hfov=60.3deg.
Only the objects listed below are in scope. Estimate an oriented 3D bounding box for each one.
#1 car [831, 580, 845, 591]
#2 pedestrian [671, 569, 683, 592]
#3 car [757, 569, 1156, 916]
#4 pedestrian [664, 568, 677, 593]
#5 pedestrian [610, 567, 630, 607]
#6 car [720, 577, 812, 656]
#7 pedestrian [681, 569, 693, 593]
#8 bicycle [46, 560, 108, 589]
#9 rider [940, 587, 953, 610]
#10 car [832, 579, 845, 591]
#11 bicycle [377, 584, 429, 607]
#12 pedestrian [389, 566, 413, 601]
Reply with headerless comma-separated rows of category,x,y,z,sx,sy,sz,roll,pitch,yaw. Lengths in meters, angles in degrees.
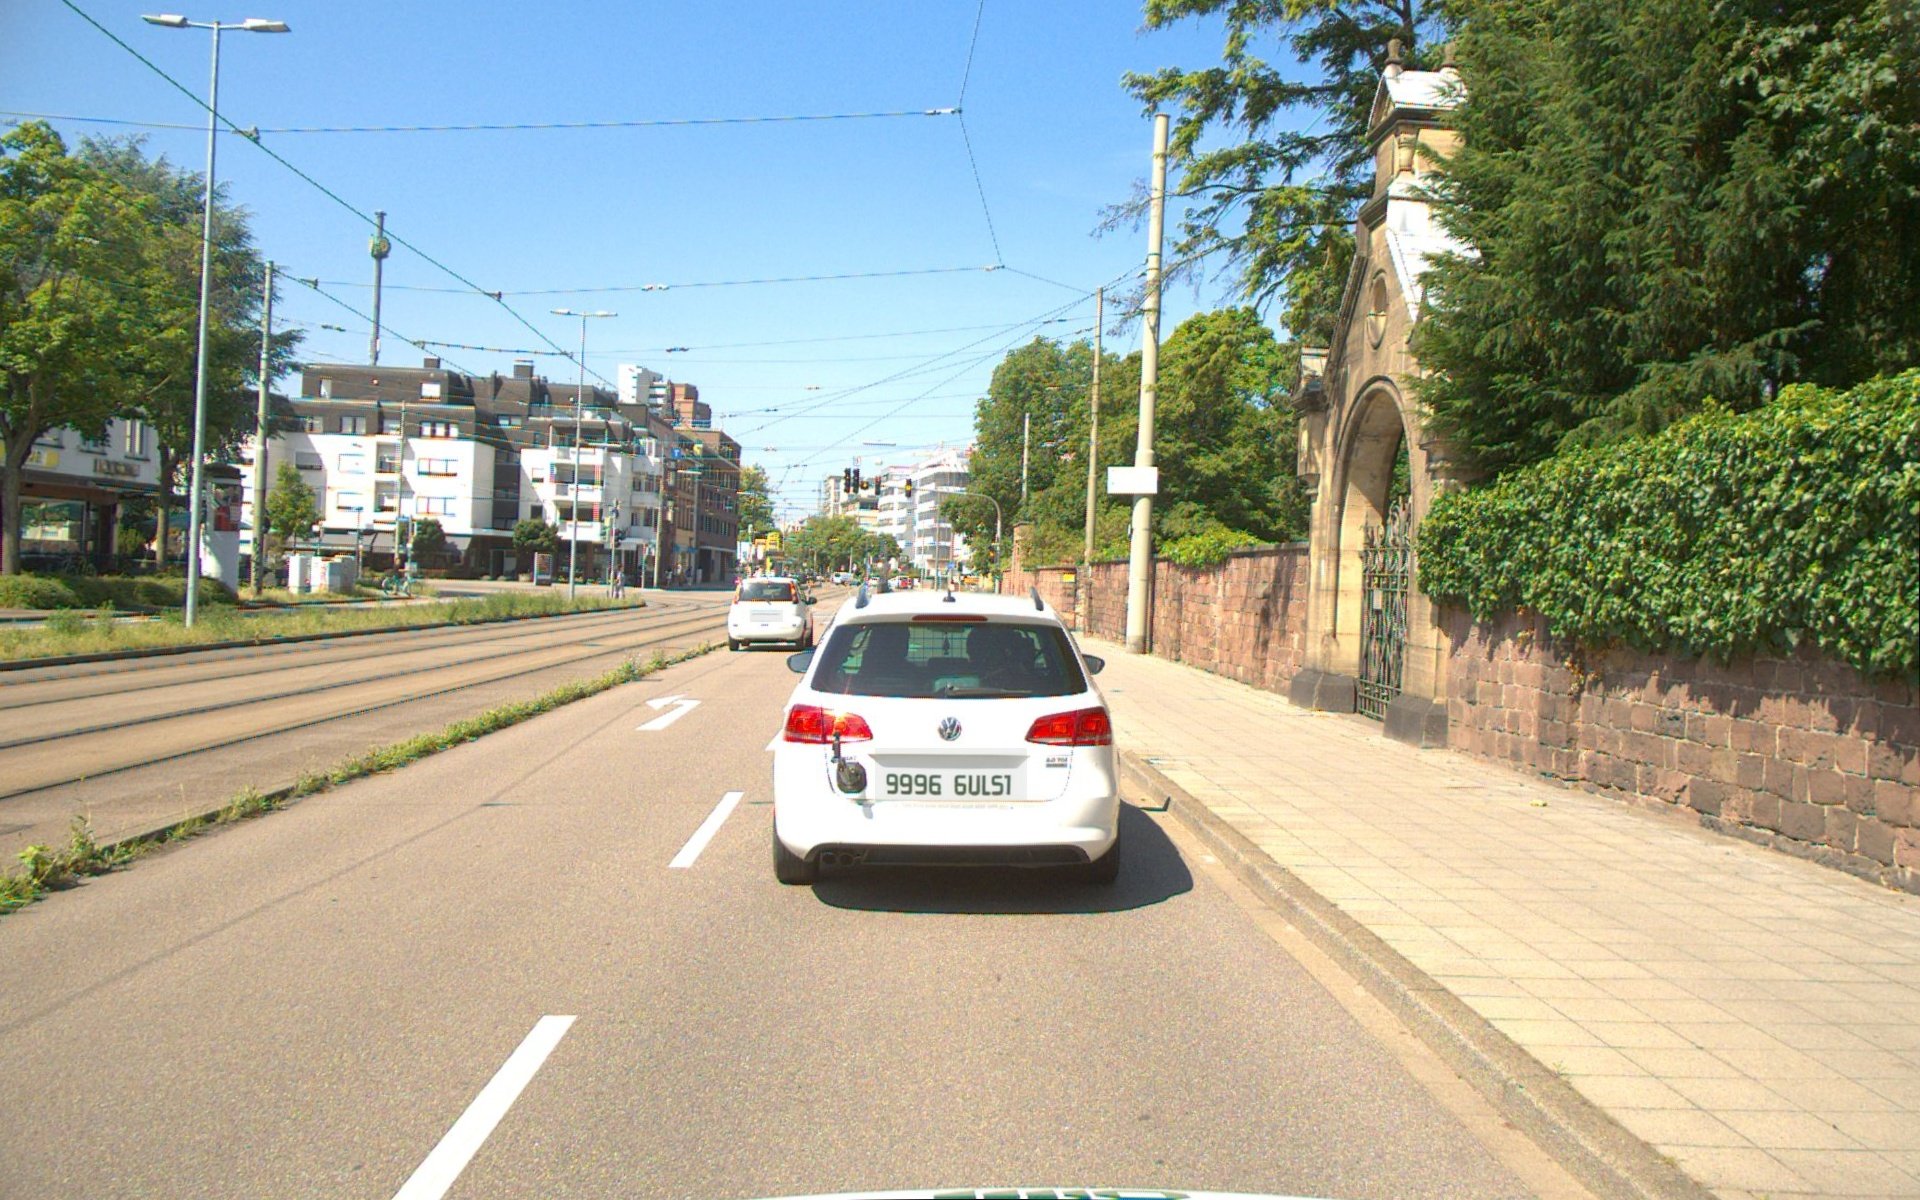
car,-18.599,-2.200,252.082,1.668,1.619,3.524,2,0,-12
pedestrian,-25.218,-1.738,147.281,0.918,2.049,0.989,2,0,-6
car,-0.048,0.612,9.203,1.742,1.516,3.846,1,0,-1
pedestrian,-24.111,-1.592,137.578,0.918,2.049,0.989,2,0,-5
pedestrian,-15.252,-0.583,74.263,0.811,1.769,0.930,2,0,-10
car,-4.263,0.333,36.843,1.696,1.624,4.009,1,0,-3
pedestrian,-23.602,-1.661,142.789,0.919,2.049,0.989,2,0,-7
bicycle,-28.940,-0.831,54.253,0.767,0.904,2.390,2,0,-1
rider,-1.032,-0.122,127.490,0.873,1.758,2.203,2,0,-1
car,-16.519,-2.003,224.812,1.664,1.619,3.533,1,1,-3
bicycle,-24.157,-0.205,71.796,0.543,0.937,2.164,2,0,41
pedestrian,-24.437,-0.720,72.316,0.556,1.513,0.811,2,0,41
